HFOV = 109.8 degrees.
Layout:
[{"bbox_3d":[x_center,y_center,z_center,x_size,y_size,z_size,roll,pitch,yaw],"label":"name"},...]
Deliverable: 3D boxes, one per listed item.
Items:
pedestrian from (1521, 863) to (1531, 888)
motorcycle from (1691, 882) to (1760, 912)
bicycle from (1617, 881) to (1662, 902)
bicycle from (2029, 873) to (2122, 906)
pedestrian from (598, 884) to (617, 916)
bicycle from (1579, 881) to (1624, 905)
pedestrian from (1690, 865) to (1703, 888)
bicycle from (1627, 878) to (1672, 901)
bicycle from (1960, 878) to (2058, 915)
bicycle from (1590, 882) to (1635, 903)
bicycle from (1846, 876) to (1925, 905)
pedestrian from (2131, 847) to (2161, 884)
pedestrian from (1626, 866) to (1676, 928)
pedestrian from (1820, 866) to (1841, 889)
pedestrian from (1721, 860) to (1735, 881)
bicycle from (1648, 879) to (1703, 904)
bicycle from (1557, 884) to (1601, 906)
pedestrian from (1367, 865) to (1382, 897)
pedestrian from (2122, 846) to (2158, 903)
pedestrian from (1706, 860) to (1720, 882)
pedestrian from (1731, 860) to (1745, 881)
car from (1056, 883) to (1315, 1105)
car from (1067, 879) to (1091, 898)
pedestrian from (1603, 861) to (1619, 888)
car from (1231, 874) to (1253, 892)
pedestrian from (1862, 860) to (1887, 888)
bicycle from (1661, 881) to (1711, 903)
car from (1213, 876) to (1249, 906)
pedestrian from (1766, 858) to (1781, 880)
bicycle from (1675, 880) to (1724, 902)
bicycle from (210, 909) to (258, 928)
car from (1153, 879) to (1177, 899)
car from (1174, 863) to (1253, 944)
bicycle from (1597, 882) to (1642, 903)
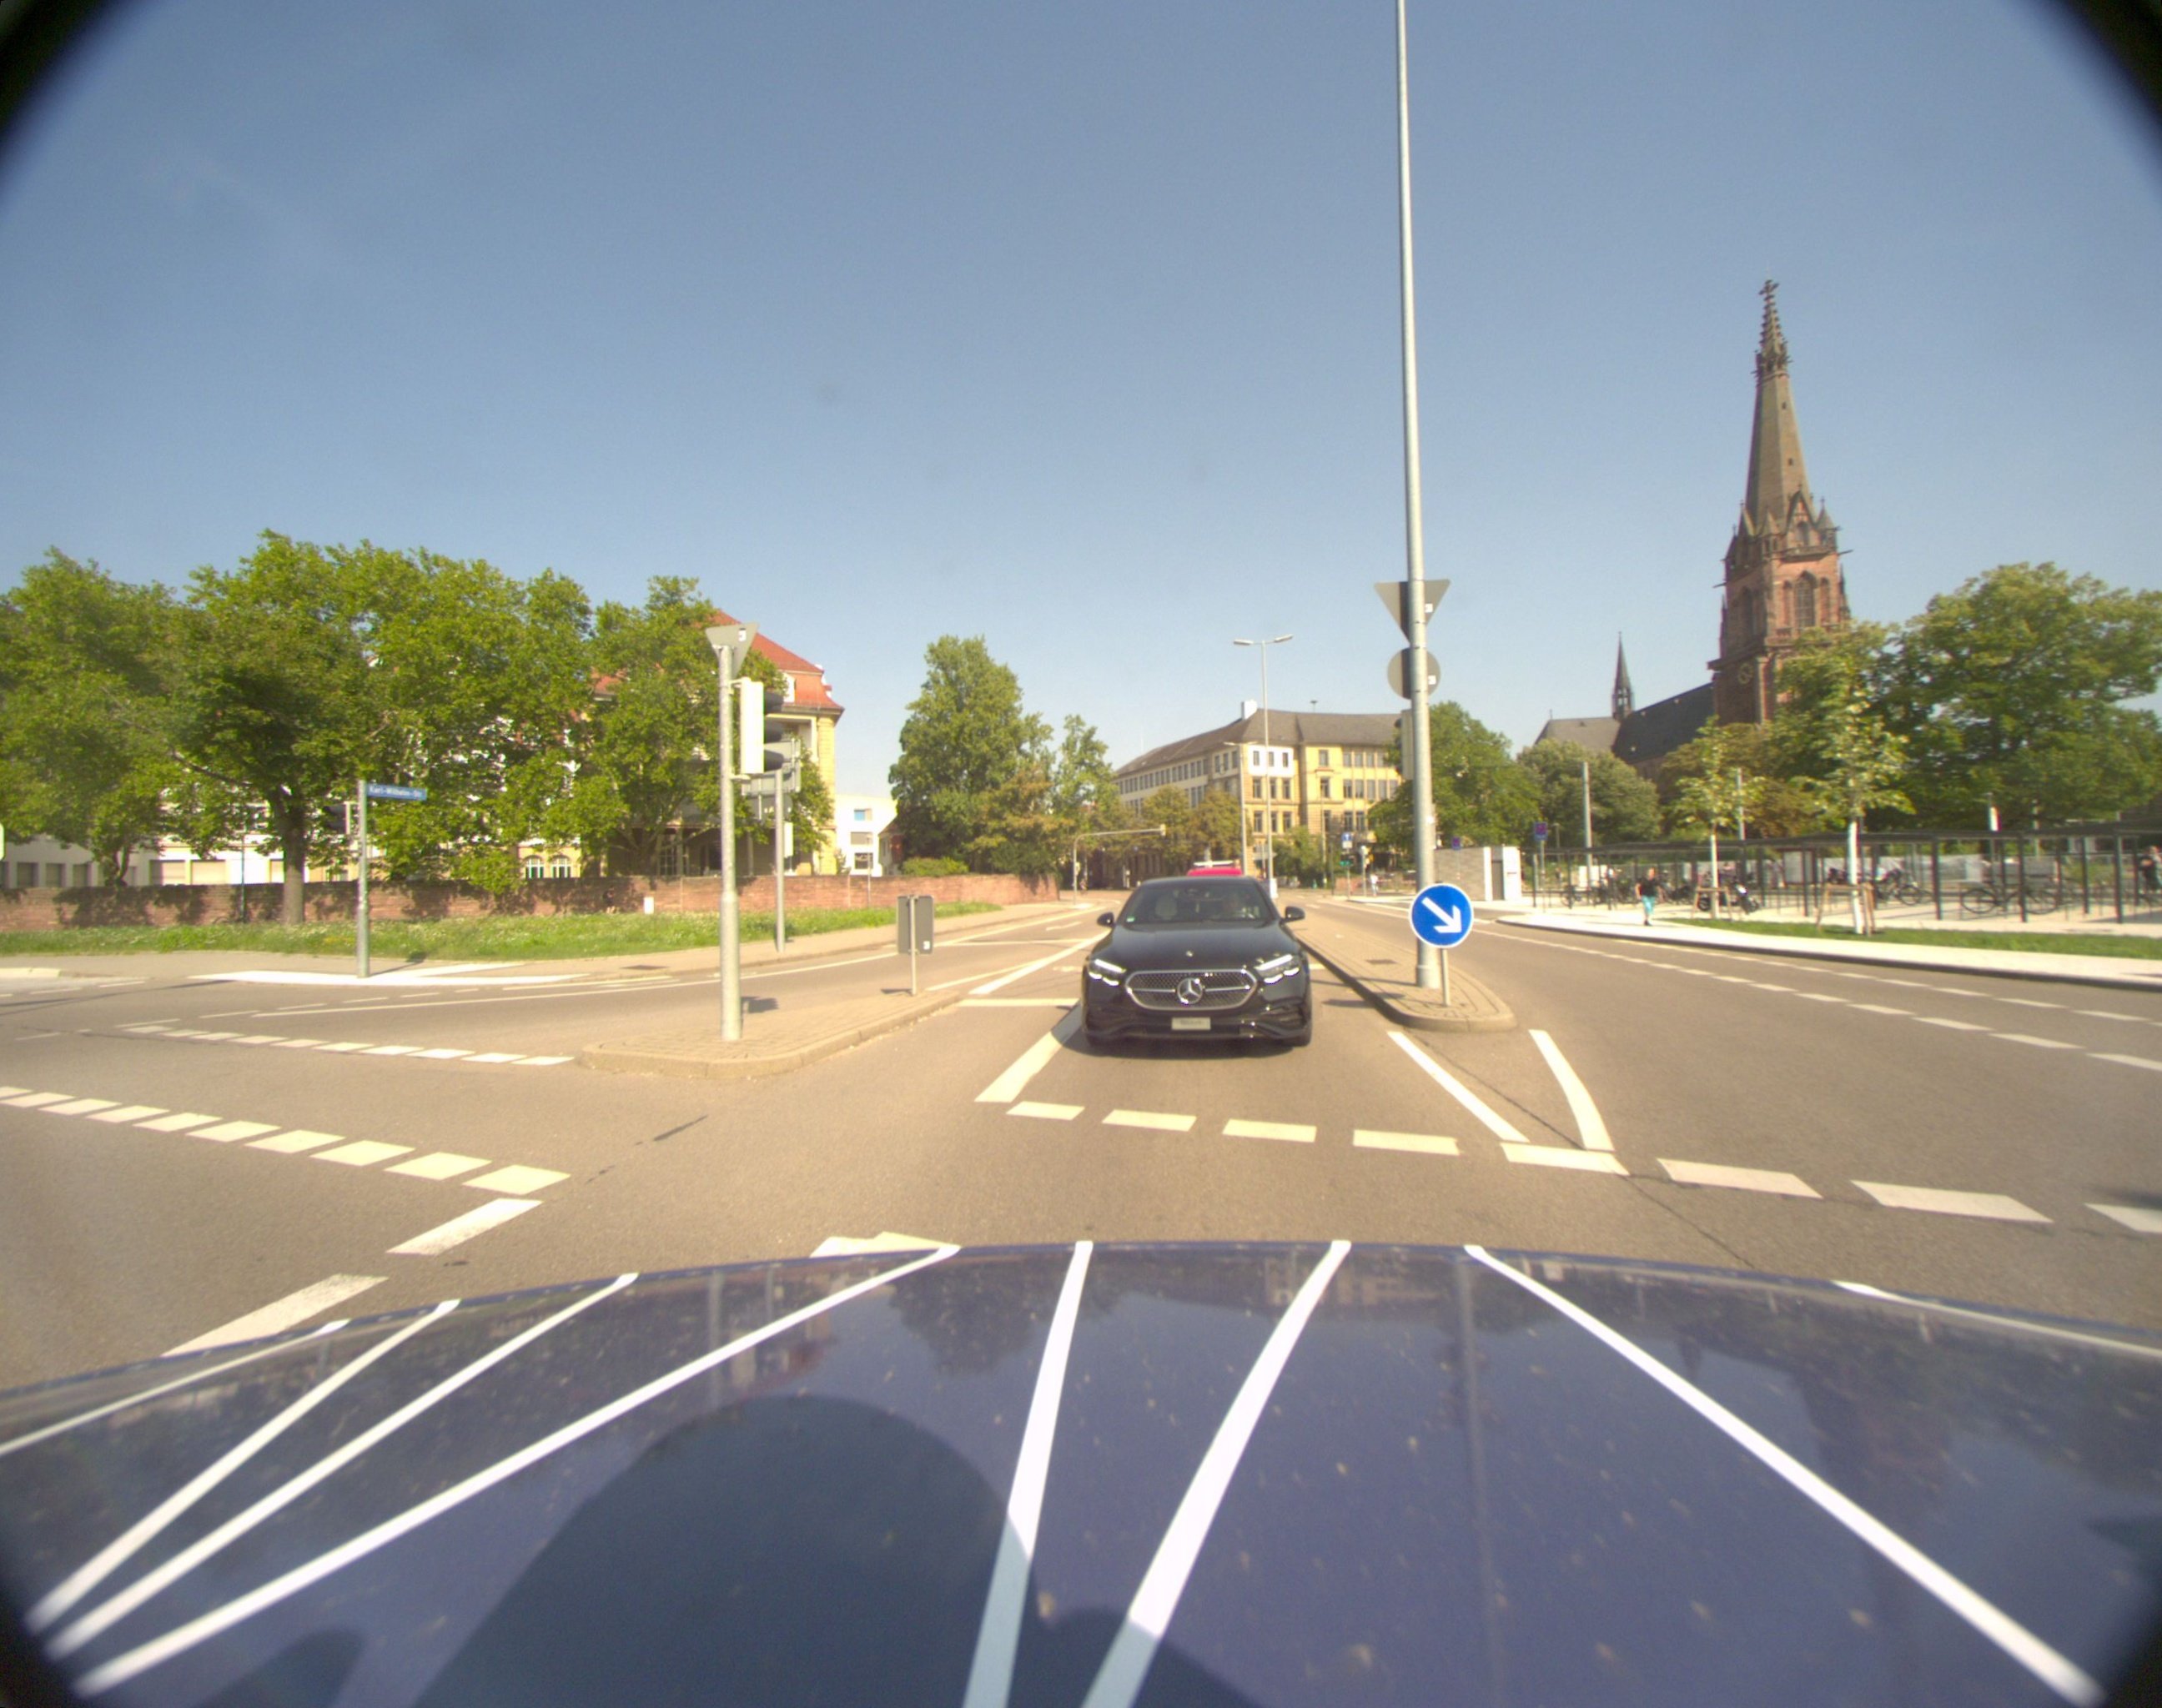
[{"bbox_3d":[31.166,1.501,53.253,0.517,1.697,0.505,-2,0,35],"label":"pedestrian"},{"bbox_3d":[22.367,1.482,26.391,0.544,1.003,1.743,-1,-1,-23],"label":"motorcycle"},{"bbox_3d":[24.645,1.642,33.542,0.402,0.887,1.585,-1,-1,-23],"label":"bicycle"},{"bbox_3d":[31.714,1.128,24.262,0.402,1.003,1.743,-1,-1,-23],"label":"bicycle"},{"bbox_3d":[-25.258,2.438,40.558,0.719,1.673,0.593,-1,-1,-21],"label":"pedestrian"},{"bbox_3d":[22.230,1.650,32.473,0.422,0.961,1.585,-1,-1,-23],"label":"bicycle"},{"bbox_3d":[36.632,1.350,45.224,0.394,1.310,0.414,-3,-2,-19],"label":"pedestrian"},{"bbox_3d":[25.522,1.573,34.125,0.453,0.971,1.585,-3,-1,-23],"label":"bicycle"},{"bbox_3d":[27.023,1.225,22.170,0.402,1.003,1.743,-1,-1,-23],"label":"bicycle"},{"bbox_3d":[22.937,1.653,32.804,0.402,0.887,1.585,-1,-1,-23],"label":"bicycle"},{"bbox_3d":[28.783,1.288,27.207,0.462,1.003,1.872,-1,-1,-23],"label":"bicycle"},{"bbox_3d":[42.841,0.470,30.537,0.470,1.413,0.568,-3,-2,-22],"label":"pedestrian"},{"bbox_3d":[14.456,1.081,19.297,0.754,1.555,0.667,0,-1,-7],"label":"pedestrian"},{"bbox_3d":[38.506,1.215,39.031,0.468,1.190,0.573,-1,-1,-22],"label":"pedestrian"},{"bbox_3d":[37.931,0.951,44.556,0.440,1.217,0.382,-3,-2,-22],"label":"pedestrian"},{"bbox_3d":[24.378,1.521,31.201,0.534,0.980,1.711,-1,-1,-23],"label":"bicycle"},{"bbox_3d":[21.005,1.721,32.066,0.402,0.887,1.585,-1,-1,-23],"label":"bicycle"},{"bbox_3d":[19.036,1.741,49.304,0.732,2.001,0.715,-2,-1,13],"label":"pedestrian"},{"bbox_3d":[33.984,0.654,24.382,0.334,1.790,0.591,-1,-1,-28],"label":"pedestrian"},{"bbox_3d":[37.193,1.005,44.732,0.440,1.217,0.382,-3,-2,-22],"label":"pedestrian"},{"bbox_3d":[37.889,0.960,43.814,0.440,1.217,0.382,-3,-2,-22],"label":"pedestrian"},{"bbox_3d":[1.234,1.093,7.879,1.823,1.431,4.879,-2,-1,12],"label":"car"},{"bbox_3d":[-0.330,4.271,93.391,2.000,2.118,4.244,-3,-2,-12],"label":"car"},{"bbox_3d":[33.943,1.301,48.667,0.716,1.738,0.389,-1,-1,9],"label":"pedestrian"},{"bbox_3d":[15.163,2.693,71.743,1.997,1.542,4.004,-2,-1,11],"label":"car"},{"bbox_3d":[39.097,0.995,37.440,0.663,1.386,0.643,-1,-1,-26],"label":"pedestrian"},{"bbox_3d":[25.117,1.584,31.569,0.410,0.887,1.585,-1,-1,-23],"label":"bicycle"},{"bbox_3d":[7.863,1.926,40.019,1.718,1.424,3.864,-2,-1,10],"label":"car"},{"bbox_3d":[38.854,0.845,42.632,0.440,1.217,0.382,-3,-2,-22],"label":"pedestrian"},{"bbox_3d":[26.306,1.556,32.364,0.410,0.887,1.585,-1,-1,-23],"label":"bicycle"},{"bbox_3d":[-40.624,3.068,36.457,1.551,0.830,0.433,-1,-1,-14],"label":"bicycle"},{"bbox_3d":[7.657,3.146,68.831,1.997,1.600,4.250,-4,-2,7],"label":"car"},{"bbox_3d":[3.468,1.189,19.331,1.735,1.808,4.283,-2,-2,13],"label":"car"},{"bbox_3d":[23.408,1.674,33.046,0.410,0.887,1.585,-1,-1,-23],"label":"bicycle"}]
